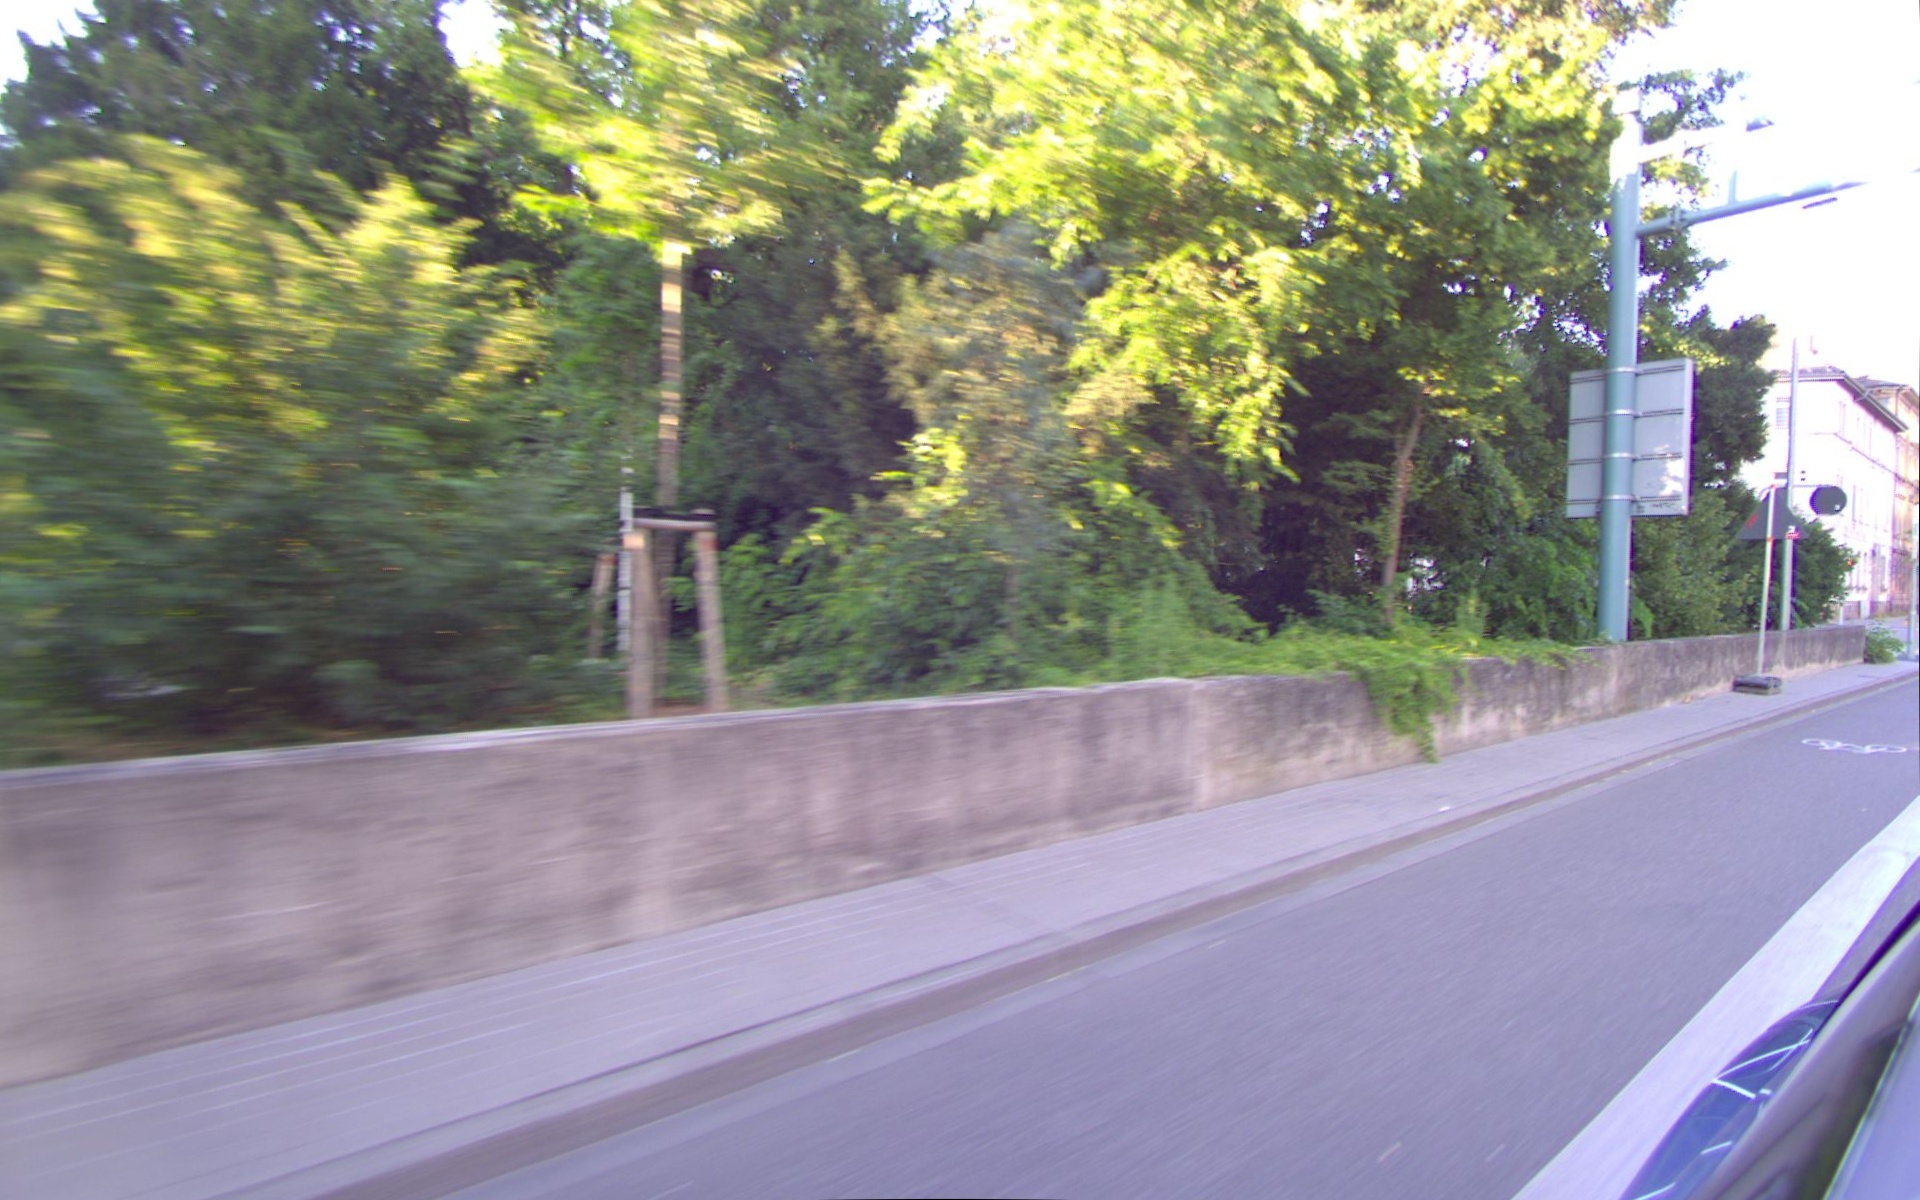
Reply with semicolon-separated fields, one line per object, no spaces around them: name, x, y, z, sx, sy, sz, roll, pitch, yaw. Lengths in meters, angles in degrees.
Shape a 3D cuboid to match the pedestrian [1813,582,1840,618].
pedestrian;41.290;0.011;48.232;0.812;1.677;0.630;2;1;31
